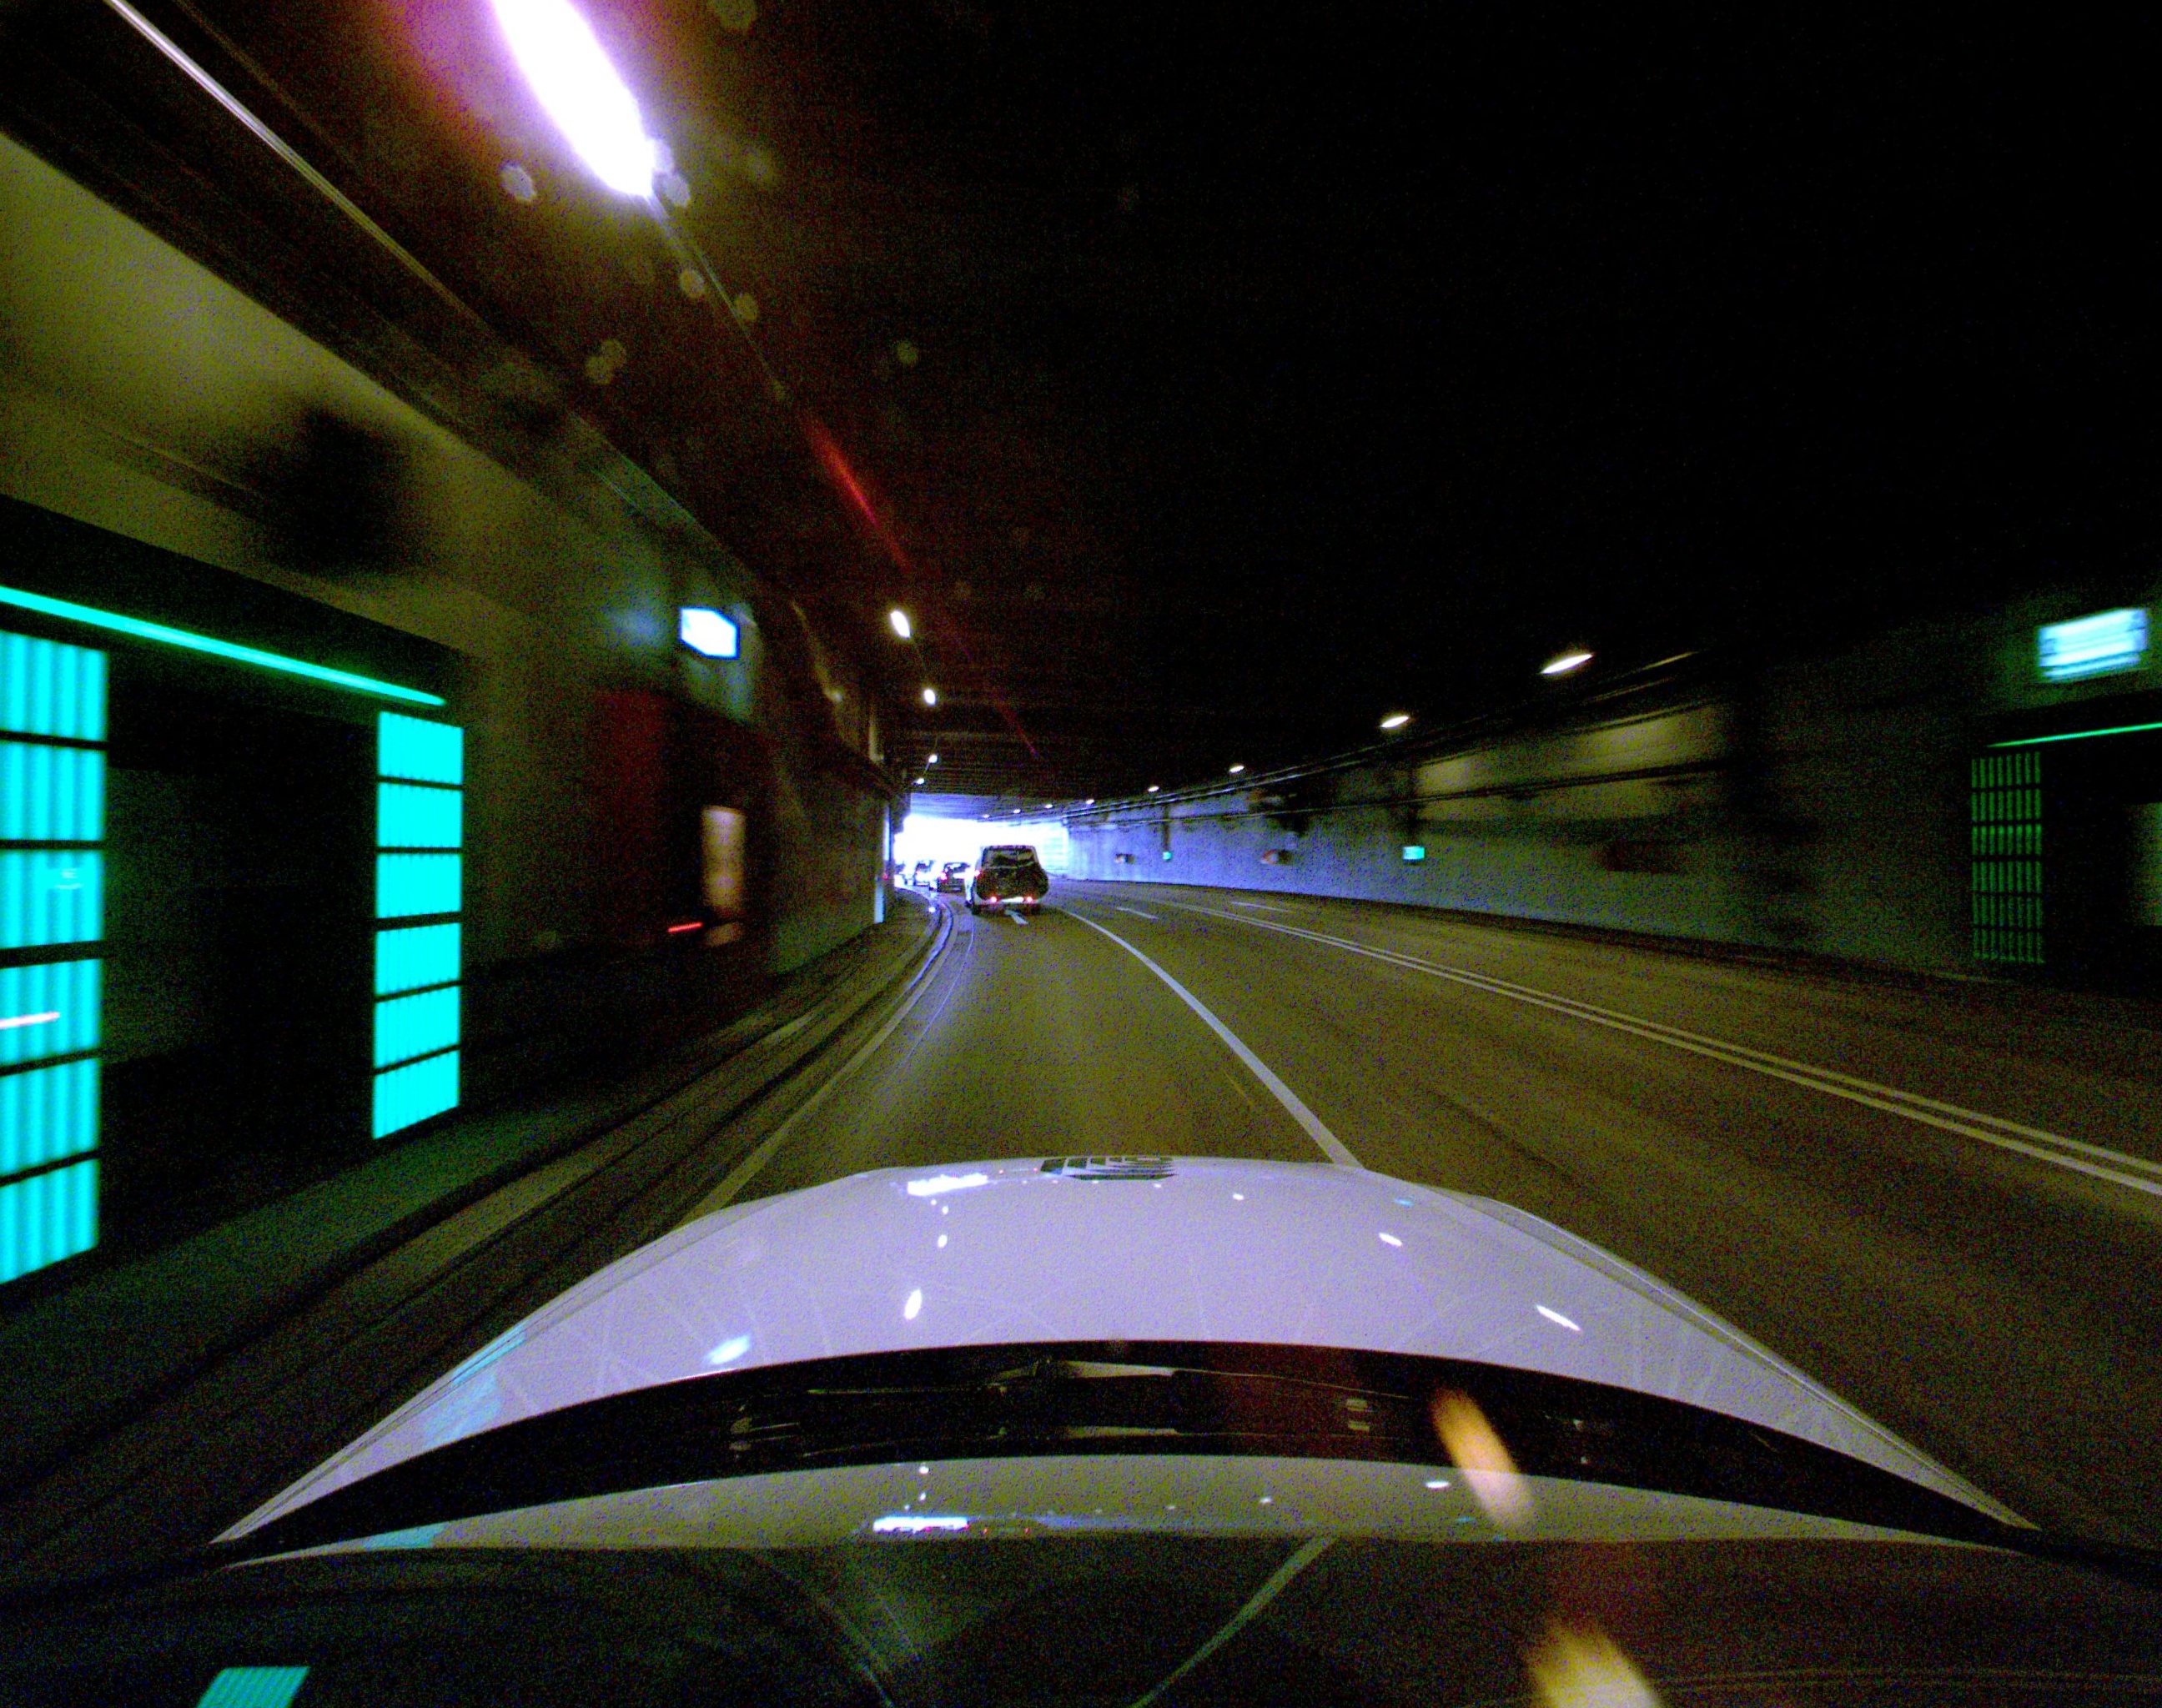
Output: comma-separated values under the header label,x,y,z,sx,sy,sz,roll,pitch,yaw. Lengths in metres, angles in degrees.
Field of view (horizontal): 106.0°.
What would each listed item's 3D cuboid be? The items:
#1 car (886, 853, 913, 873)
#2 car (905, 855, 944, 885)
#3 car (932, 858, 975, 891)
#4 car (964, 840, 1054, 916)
label,x,y,z,sx,sy,sz,roll,pitch,yaw
car,-14.949,0.749,66.829,1.609,1.630,3.330,1,0,-23
car,-8.894,0.883,46.116,1.608,1.594,3.332,1,0,-21
car,-5.826,0.907,36.999,1.606,1.395,3.260,-1,0,-15
car,-2.164,0.609,22.939,1.994,1.847,5.281,-1,0,-11
